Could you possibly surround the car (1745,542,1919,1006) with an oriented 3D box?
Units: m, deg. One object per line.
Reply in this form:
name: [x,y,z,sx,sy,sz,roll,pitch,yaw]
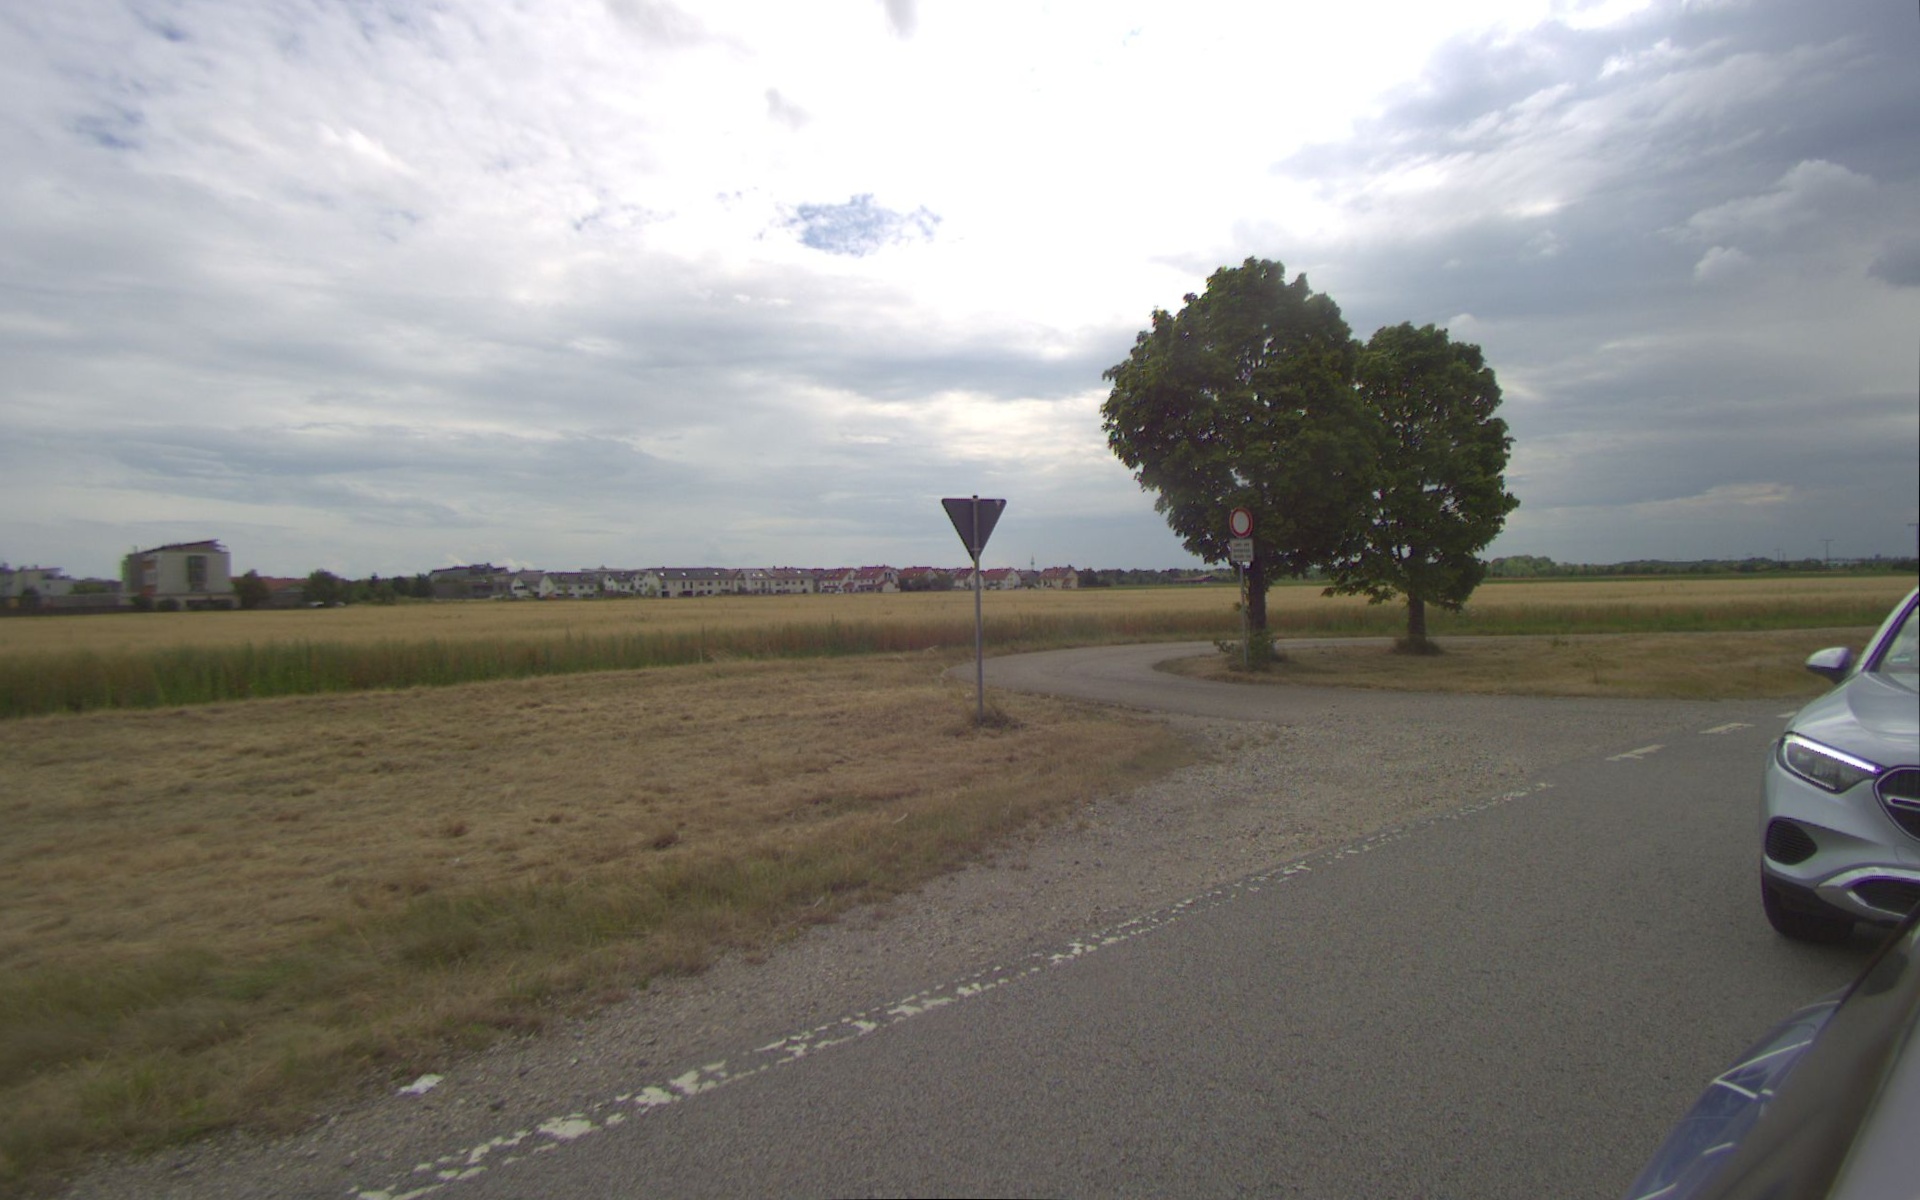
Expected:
car: [5.248,0.580,4.607,4.372,1.606,1.835,-1,0,-41]
